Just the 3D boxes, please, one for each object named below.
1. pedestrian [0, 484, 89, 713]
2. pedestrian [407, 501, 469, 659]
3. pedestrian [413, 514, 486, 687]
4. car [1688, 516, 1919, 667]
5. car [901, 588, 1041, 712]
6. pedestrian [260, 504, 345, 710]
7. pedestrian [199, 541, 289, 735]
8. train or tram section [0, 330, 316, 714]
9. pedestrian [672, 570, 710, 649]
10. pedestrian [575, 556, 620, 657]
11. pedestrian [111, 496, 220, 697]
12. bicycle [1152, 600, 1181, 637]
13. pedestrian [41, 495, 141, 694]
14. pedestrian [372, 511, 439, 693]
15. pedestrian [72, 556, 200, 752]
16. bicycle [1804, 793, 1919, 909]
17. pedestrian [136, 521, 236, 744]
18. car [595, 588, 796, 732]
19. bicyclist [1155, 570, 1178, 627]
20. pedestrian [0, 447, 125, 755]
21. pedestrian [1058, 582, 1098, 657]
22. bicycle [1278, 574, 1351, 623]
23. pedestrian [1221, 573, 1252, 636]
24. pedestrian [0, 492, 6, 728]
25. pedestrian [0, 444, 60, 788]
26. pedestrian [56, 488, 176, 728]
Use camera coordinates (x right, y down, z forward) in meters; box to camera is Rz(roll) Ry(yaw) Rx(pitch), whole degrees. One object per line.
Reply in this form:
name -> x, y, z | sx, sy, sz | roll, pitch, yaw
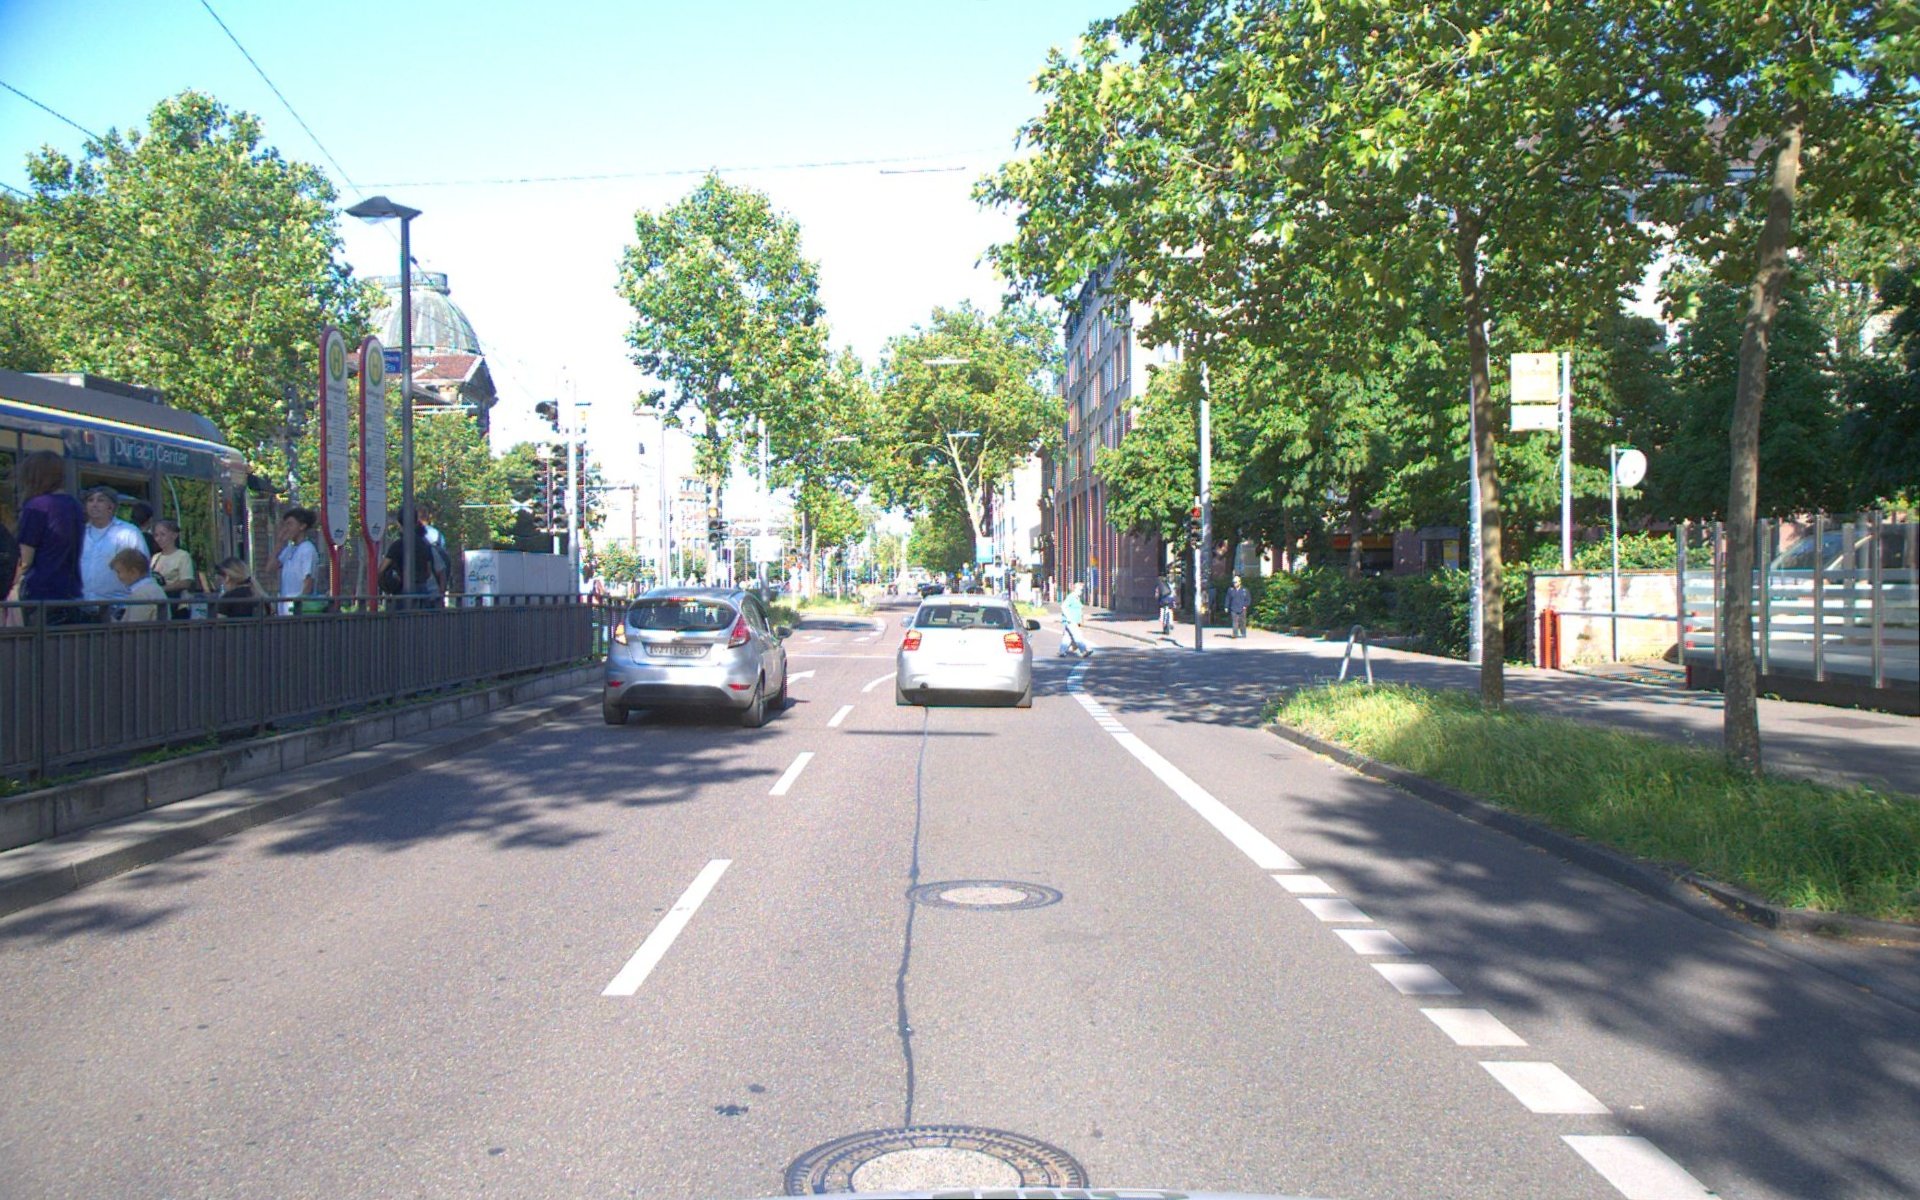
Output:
pedestrian -> -7.022, -0.012, 12.444 | 0.606, 1.678, 0.622 | -1, 0, -5
pedestrian -> -5.953, -0.229, 18.869 | 0.537, 1.764, 0.539 | -1, 0, -5
pedestrian -> -5.321, -0.001, 17.239 | 0.545, 1.764, 0.532 | -1, 0, -41
car -> 13.663, -0.200, 24.558 | 4.798, 2.019, 1.913 | -3, 0, -1
car -> 0.205, 0.597, 22.207 | 1.694, 1.414, 3.841 | 1, 1, 2
pedestrian -> -5.668, 0.054, 14.277 | 0.495, 1.732, 0.611 | -1, 0, -5
pedestrian -> -5.061, 0.258, 11.707 | 0.407, 1.339, 0.507 | -1, 0, -3
train or tram section -> -9.750, -0.699, 14.924 | 2.855, 3.317, 13.110 | 1, 0, -1
pedestrian -> -5.693, 0.207, 34.960 | 0.631, 1.648, 0.636 | 0, -2, -28
pedestrian -> -5.807, 0.098, 26.531 | 0.618, 1.584, 0.646 | -1, 0, -5
pedestrian -> -7.049, -0.037, 14.697 | 0.620, 1.732, 0.746 | -1, 0, -5
bicycle -> 6.135, 0.536, 49.015 | 0.814, 1.059, 1.876 | -1, 1, 8
pedestrian -> -7.747, -0.052, 14.761 | 0.597, 1.732, 0.545 | -1, 0, -5
pedestrian -> -5.470, 0.016, 16.327 | 0.538, 1.764, 0.538 | -1, 0, -12
pedestrian -> -5.237, 0.333, 10.530 | 0.534, 1.213, 0.531 | -1, 0, -1
bicycle -> 4.812, 1.102, 7.187 | 1.576, 0.359, 1.389 | -1, 1, -1
pedestrian -> -6.400, 0.260, 13.701 | 0.542, 1.801, 0.611 | -1, 0, -5
car -> -2.856, 0.605, 18.551 | 1.626, 1.434, 3.632 | 1, 0, 1
bicyclist -> 6.130, -0.051, 49.058 | 0.644, 1.686, 0.765 | -1, 0, 8
pedestrian -> -5.325, 0.005, 9.587 | 0.647, 1.726, 0.571 | -1, 0, 0
pedestrian -> 2.529, 0.411, 35.436 | 0.812, 1.603, 0.739 | 0, 0, 7
bicycle -> 10.311, -0.040, 48.158 | 1.955, 1.337, 0.574 | -2, 0, 2
pedestrian -> 7.333, 0.111, 43.806 | 0.613, 1.657, 0.944 | 0, 0, 21
pedestrian -> -6.545, 0.069, 10.599 | 0.534, 1.545, 0.531 | -1, 0, -1
pedestrian -> -5.136, 0.081, 8.525 | 0.647, 1.726, 0.571 | -1, 0, 0
pedestrian -> -6.281, 0.056, 12.322 | 0.496, 1.732, 0.610 | -1, 0, 33
